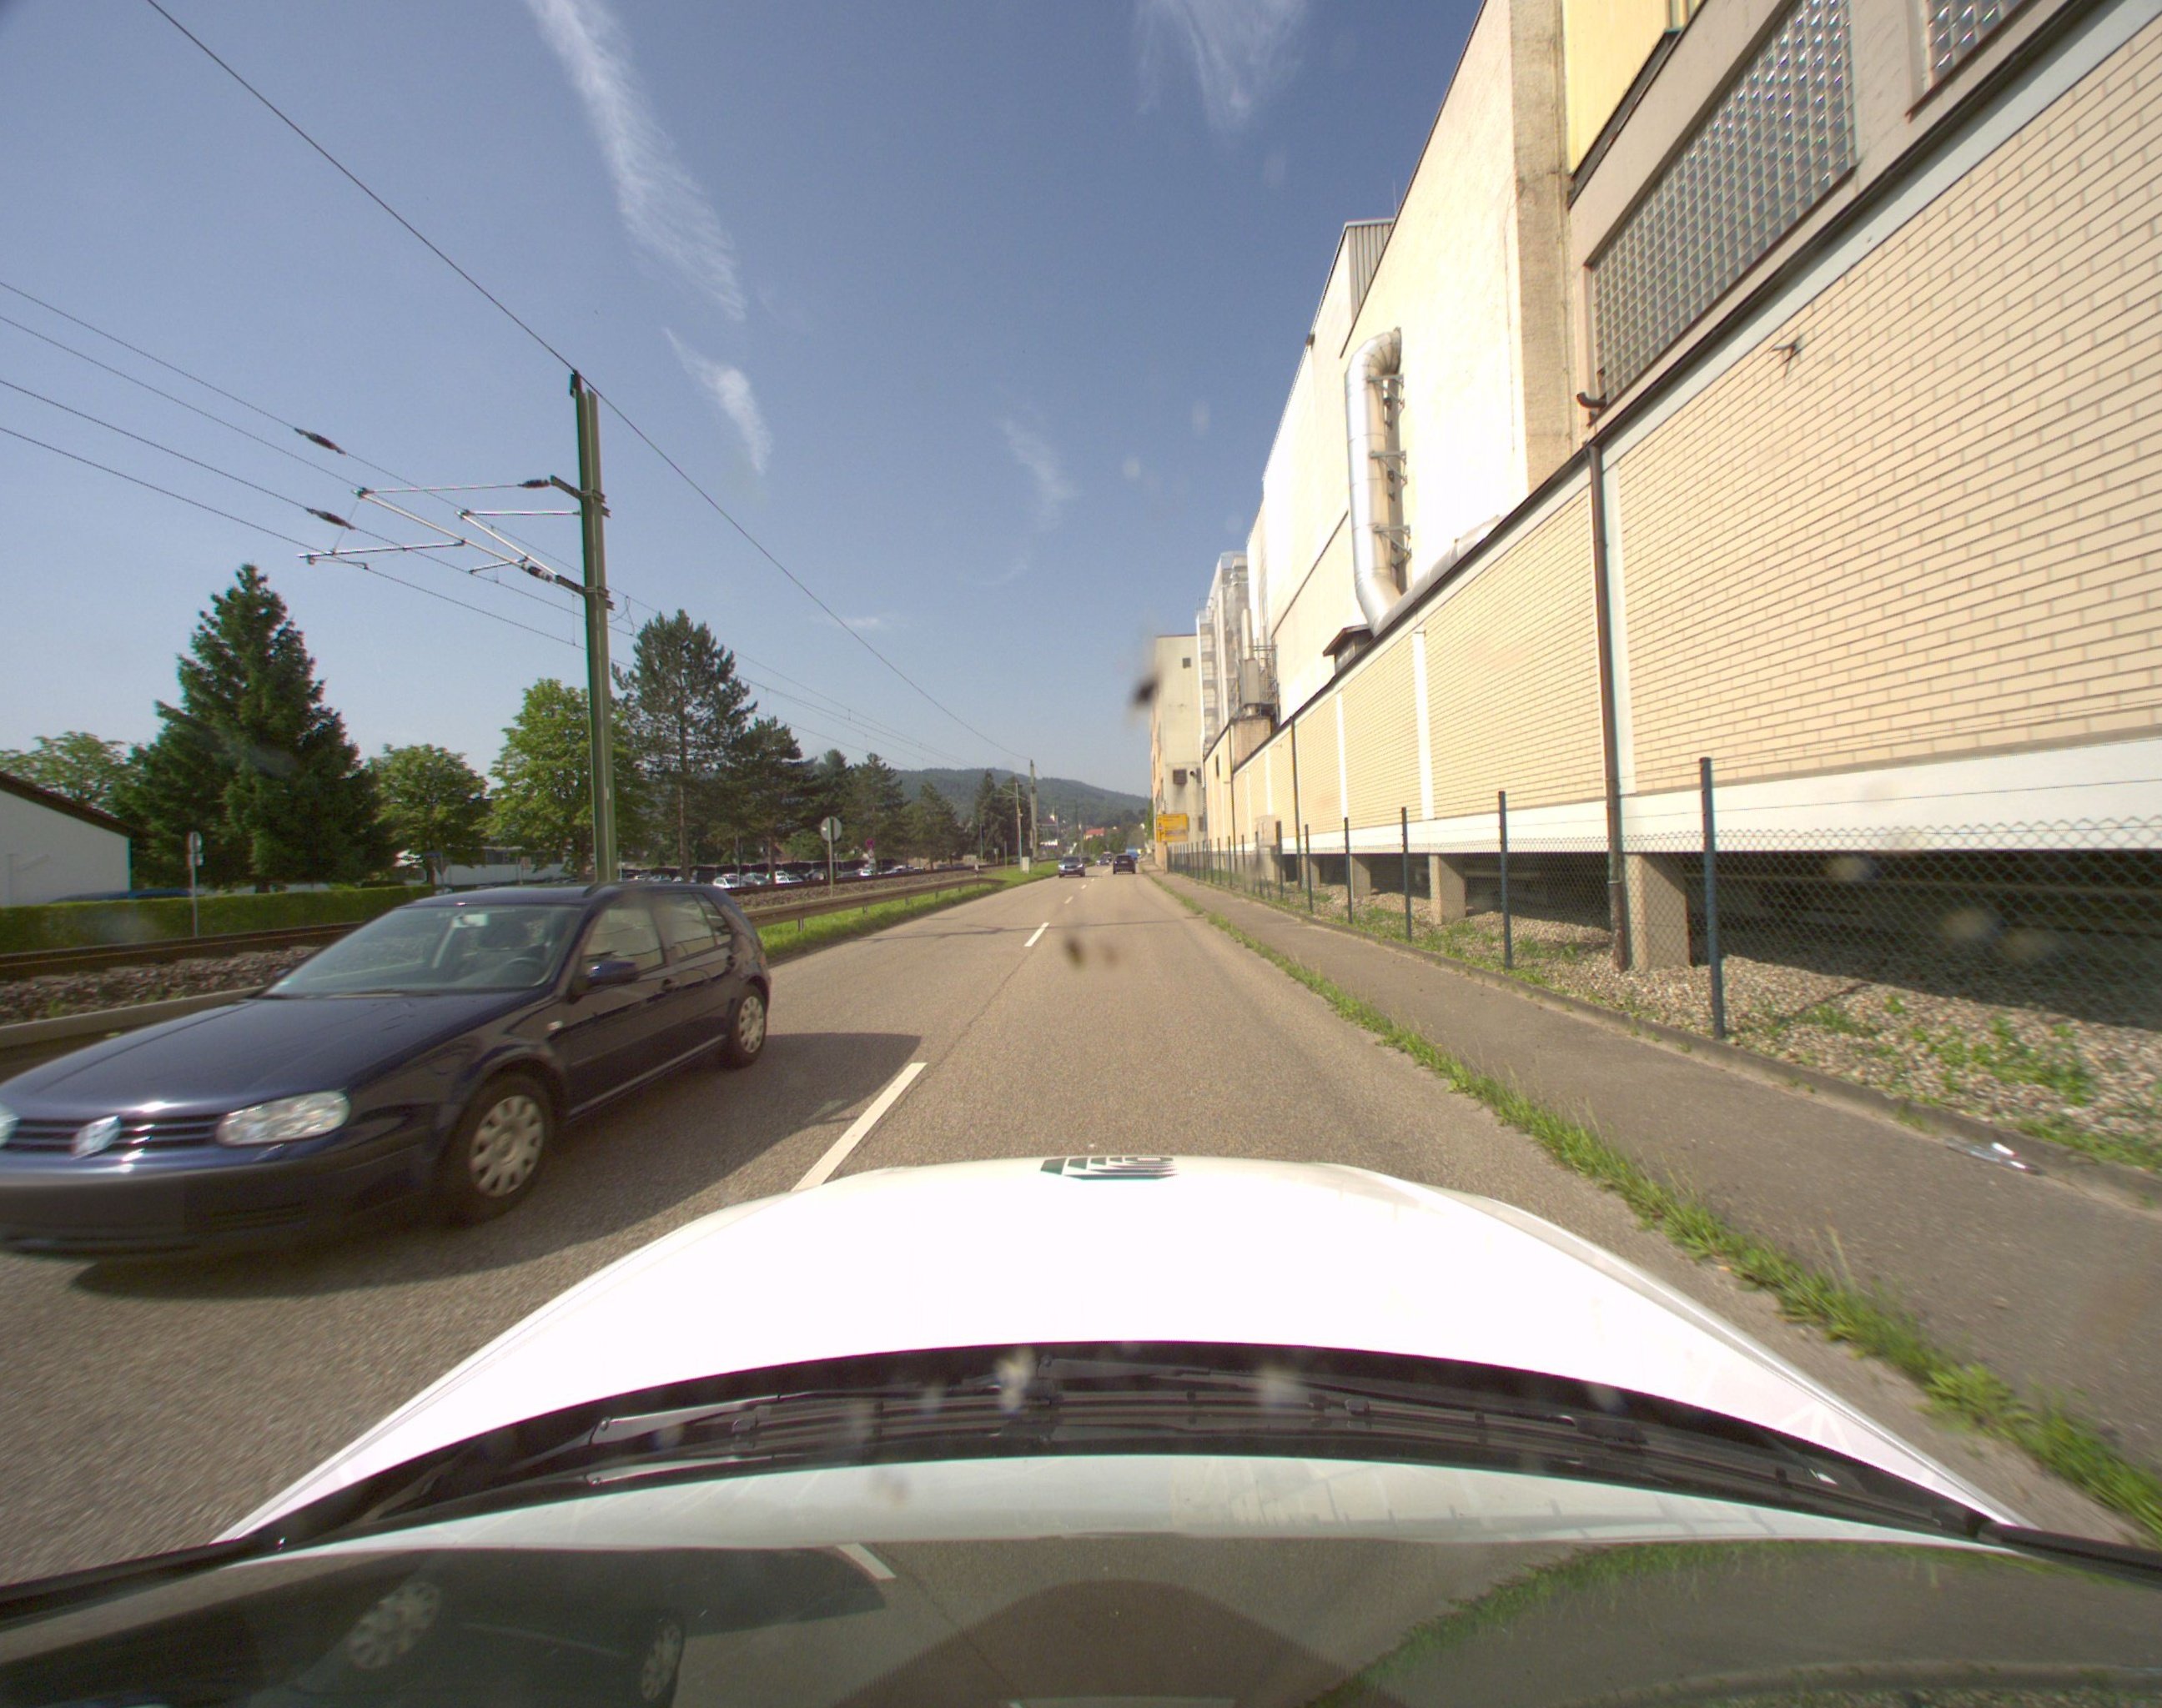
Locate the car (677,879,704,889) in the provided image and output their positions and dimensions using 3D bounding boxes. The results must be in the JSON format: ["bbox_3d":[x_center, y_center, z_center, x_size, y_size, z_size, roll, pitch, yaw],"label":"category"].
[{"bbox_3d":[-54.305,4.175,113.305,3.493,1.325,1.466,-3,-1,24],"label":"car"}]

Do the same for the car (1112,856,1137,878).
[{"bbox_3d":[3.676,1.058,68.120,1.911,1.640,4.005,-2,0,4],"label":"car"}]

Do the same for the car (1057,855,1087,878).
[{"bbox_3d":[-0.631,0.962,61.456,1.899,1.600,4.573,-2,-1,3],"label":"car"}]

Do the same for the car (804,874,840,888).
[{"bbox_3d":[-29.173,2.993,91.828,3.541,1.357,1.501,-2,-1,-43],"label":"car"}]

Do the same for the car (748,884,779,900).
[{"bbox_3d":[-32.535,3.917,83.431,1.697,1.506,3.807,-2,-1,-41],"label":"car"}]

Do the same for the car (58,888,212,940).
[{"bbox_3d":[-29.175,1.818,25.237,1.386,1.352,2.893,-3,-1,-1],"label":"car"}]

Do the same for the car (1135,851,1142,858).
[{"bbox_3d":[15.755,0.127,222.518,1.659,1.823,3.756,-2,0,5],"label":"car"}]

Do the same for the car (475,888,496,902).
[{"bbox_3d":[-74.286,5.110,101.595,1.576,1.523,3.493,-2,-1,-44],"label":"car"}]

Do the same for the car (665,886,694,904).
[{"bbox_3d":[-39.374,4.039,79.833,1.697,1.642,3.807,-2,-1,-41],"label":"car"}]

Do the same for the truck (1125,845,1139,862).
[{"bbox_3d":[9.321,-0.065,150.346,2.304,2.970,5.968,-2,0,2],"label":"truck"}]

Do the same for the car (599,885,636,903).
[{"bbox_3d":[-40.133,3.503,70.493,3.804,1.406,1.698,-3,-1,44],"label":"car"}]

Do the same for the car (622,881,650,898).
[{"bbox_3d":[-45.149,3.588,82.504,1.697,1.642,3.807,-2,-1,-41],"label":"car"}]

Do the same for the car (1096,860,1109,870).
[{"bbox_3d":[3.344,1.629,125.191,1.760,1.405,4.300,-3,0,3],"label":"car"}]

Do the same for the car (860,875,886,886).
[{"bbox_3d":[-27.837,3.521,108.937,3.490,1.325,1.467,-3,-1,36],"label":"car"}]

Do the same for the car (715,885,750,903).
[{"bbox_3d":[-30.794,3.506,71.953,1.697,1.443,3.807,-2,-1,-41],"label":"car"}]

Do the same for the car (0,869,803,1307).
[{"bbox_3d":[-3.327,0.860,4.886,1.757,1.403,4.121,-2,0,1],"label":"car"}]

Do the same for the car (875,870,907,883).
[{"bbox_3d":[-27.090,3.226,116.193,4.012,1.640,1.981,-3,0,-30],"label":"car"}]

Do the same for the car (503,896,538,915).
[{"bbox_3d":[-46.011,4.205,66.784,1.698,1.332,3.805,-2,-1,-44],"label":"car"}]
